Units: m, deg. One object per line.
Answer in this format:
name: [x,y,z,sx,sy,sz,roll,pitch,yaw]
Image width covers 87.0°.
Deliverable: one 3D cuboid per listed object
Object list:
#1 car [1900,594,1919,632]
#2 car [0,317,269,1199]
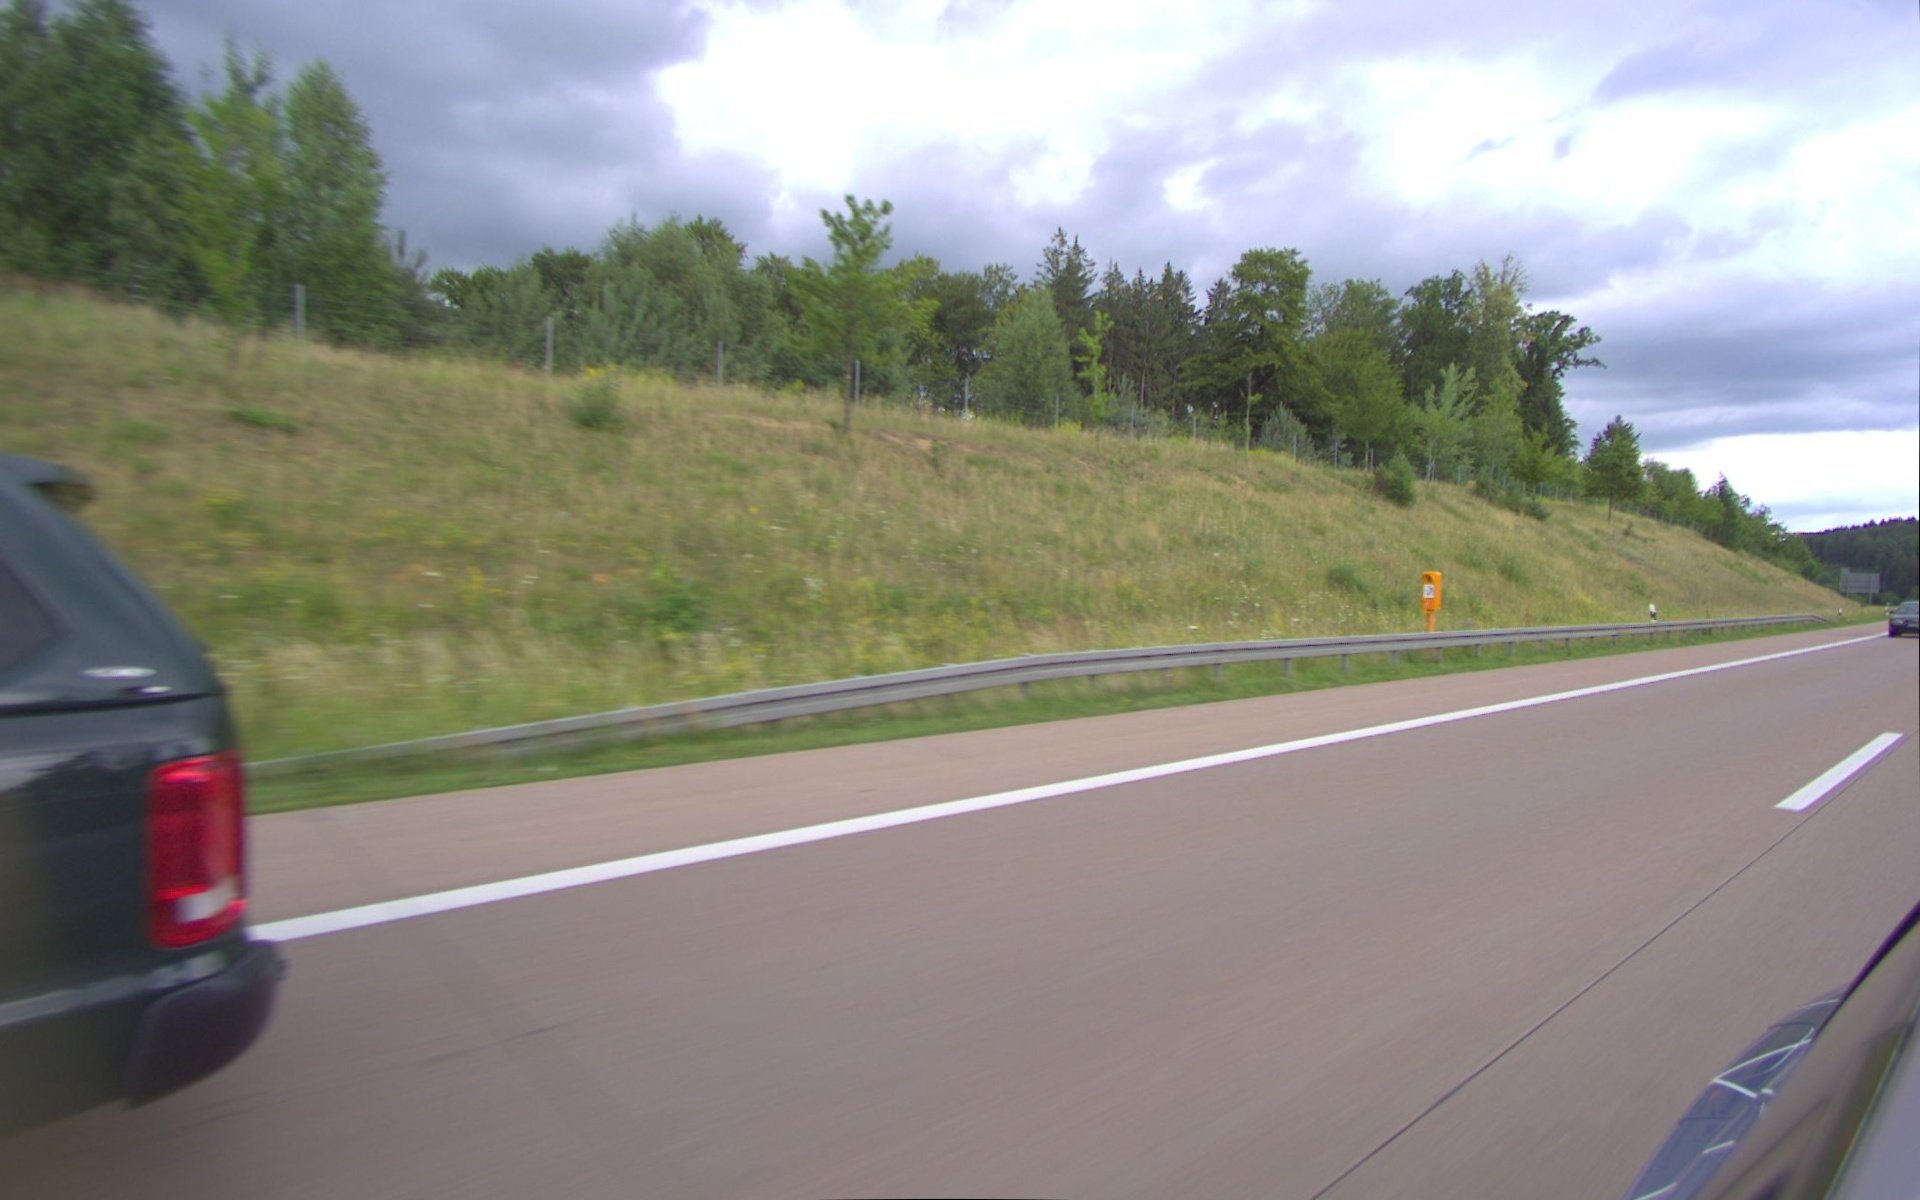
car: [39.068,0.516,40.572,4.161,1.420,1.674,-1,2,-42]
car: [-4.048,0.506,0.916,5.480,1.920,2.048,-1,2,-41]
